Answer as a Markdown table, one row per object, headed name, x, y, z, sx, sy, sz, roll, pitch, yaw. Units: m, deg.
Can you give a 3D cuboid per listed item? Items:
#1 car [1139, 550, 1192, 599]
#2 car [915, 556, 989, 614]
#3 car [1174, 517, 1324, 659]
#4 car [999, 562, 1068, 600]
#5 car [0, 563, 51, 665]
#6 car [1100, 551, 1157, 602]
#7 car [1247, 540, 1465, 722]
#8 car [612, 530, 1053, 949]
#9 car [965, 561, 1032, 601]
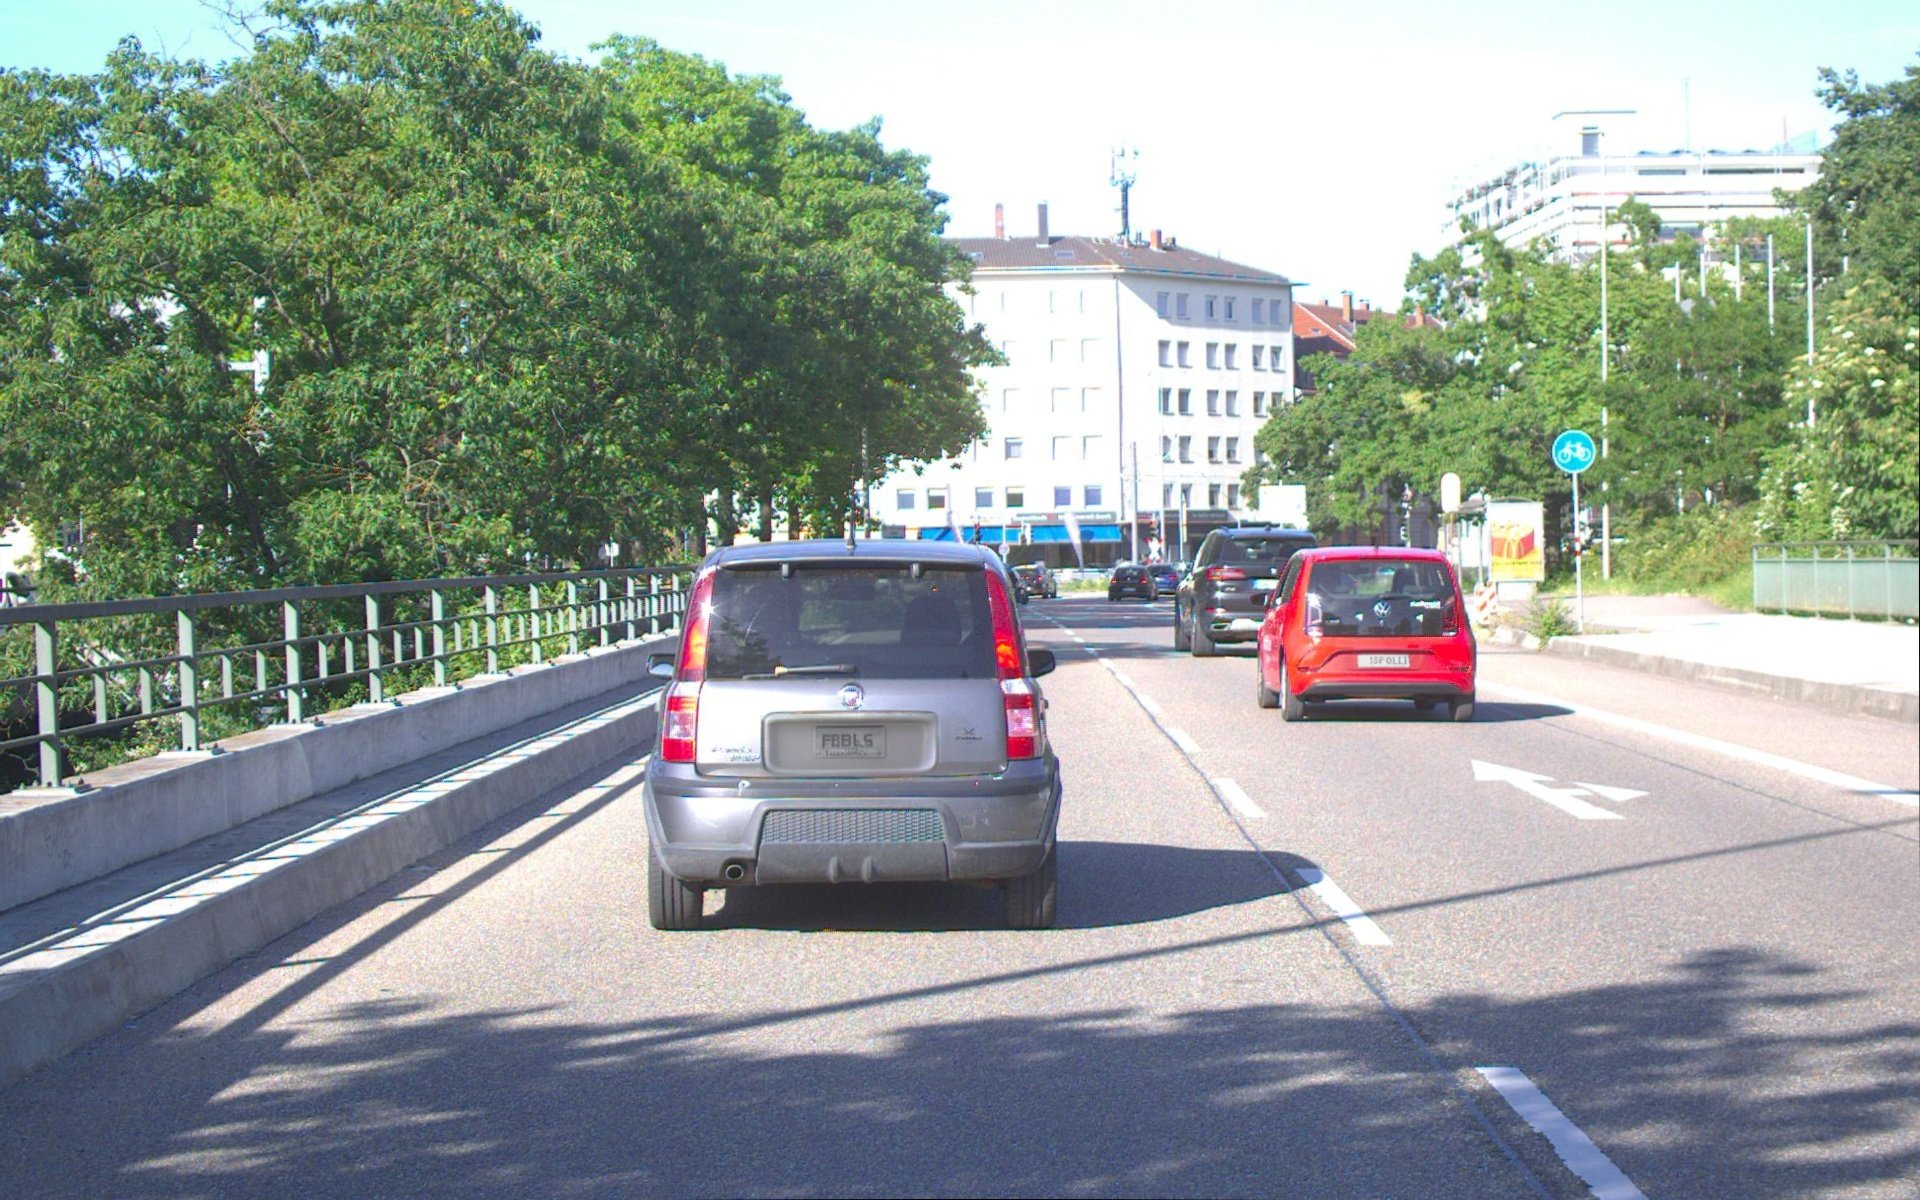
| name | x | y | z | sx | sy | sz | roll | pitch | yaw |
| --- | --- | --- | --- | --- | --- | --- | --- | --- | --- |
| car | 8.507 | -1.047 | 142.183 | 1.945 | 1.834 | 4.152 | -4 | 0 | 5 |
| car | -0.193 | -0.429 | 95.268 | 1.945 | 1.523 | 4.097 | -1 | 1 | 1 |
| car | 3.943 | -0.164 | 47.229 | 1.945 | 1.834 | 4.152 | 1 | 0 | 4 |
| car | 3.133 | -0.821 | 145.673 | 1.947 | 1.523 | 4.094 | -1 | 1 | 16 |
| car | -15.391 | 0.211 | 53.333 | 1.743 | 1.495 | 4.000 | -2 | 1 | -4 |
| car | 6.638 | -0.914 | 135.187 | 1.945 | 1.834 | 4.152 | -4 | 0 | 5 |
| car | 3.408 | 0.220 | 30.128 | 1.617 | 1.458 | 3.751 | 0 | 2 | 2 |
| car | -0.471 | 0.476 | 14.551 | 1.617 | 1.510 | 3.820 | 0 | 2 | 0 |
| car | 1.528 | -0.761 | 135.490 | 1.946 | 1.523 | 4.096 | -1 | 1 | 11 |
